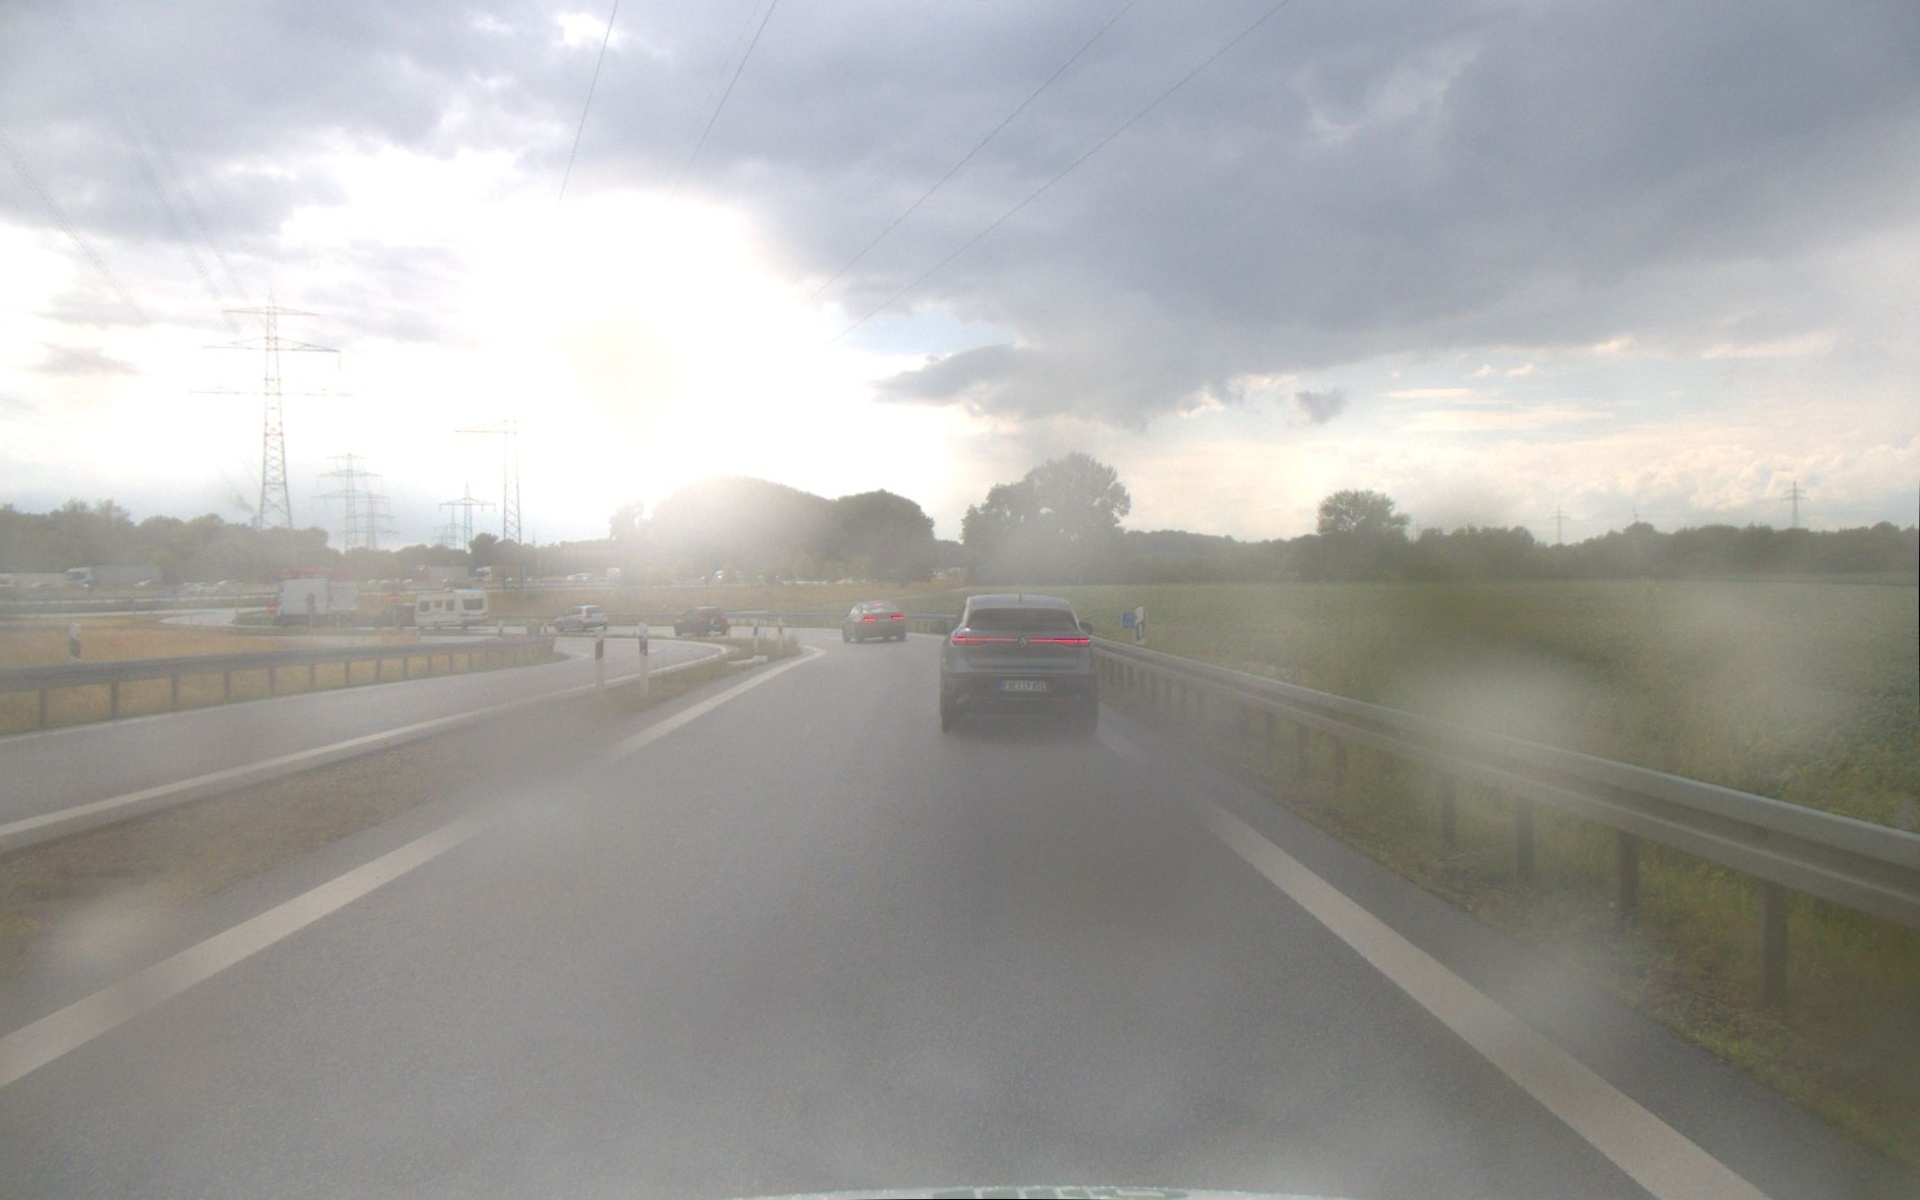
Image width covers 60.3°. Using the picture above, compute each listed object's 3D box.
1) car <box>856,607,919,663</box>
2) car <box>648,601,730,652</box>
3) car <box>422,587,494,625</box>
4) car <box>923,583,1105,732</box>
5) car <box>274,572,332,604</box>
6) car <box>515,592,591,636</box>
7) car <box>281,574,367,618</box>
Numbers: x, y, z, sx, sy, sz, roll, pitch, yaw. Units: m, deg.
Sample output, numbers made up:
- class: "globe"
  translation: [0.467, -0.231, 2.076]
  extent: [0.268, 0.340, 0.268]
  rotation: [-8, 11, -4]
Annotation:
- class: "car"
  translation: [-2.847, 1.314, 64.146]
  extent: [2.080, 2.053, 5.527]
  rotation: [0, 0, -6]
- class: "car"
  translation: [-14.253, 1.337, 86.698]
  extent: [2.331, 2.346, 5.068]
  rotation: [-2, 3, -34]
- class: "car"
  translation: [-33.511, 0.369, 110.410]
  extent: [5.038, 2.346, 2.345]
  rotation: [2, 4, 42]
- class: "car"
  translation: [0.622, 0.599, 20.017]
  extent: [1.952, 1.594, 4.150]
  rotation: [1, 1, 1]
- class: "car"
  translation: [-78.039, -1.463, 196.518]
  extent: [3.314, 3.673, 9.044]
  rotation: [-1, 1, -1]
- class: "car"
  translation: [-24.344, 0.823, 98.775]
  extent: [2.338, 2.346, 5.053]
  rotation: [-3, 4, -41]
- class: "car"
  translation: [-47.843, -0.347, 124.338]
  extent: [7.082, 3.002, 3.127]
  rotation: [2, 4, 42]
